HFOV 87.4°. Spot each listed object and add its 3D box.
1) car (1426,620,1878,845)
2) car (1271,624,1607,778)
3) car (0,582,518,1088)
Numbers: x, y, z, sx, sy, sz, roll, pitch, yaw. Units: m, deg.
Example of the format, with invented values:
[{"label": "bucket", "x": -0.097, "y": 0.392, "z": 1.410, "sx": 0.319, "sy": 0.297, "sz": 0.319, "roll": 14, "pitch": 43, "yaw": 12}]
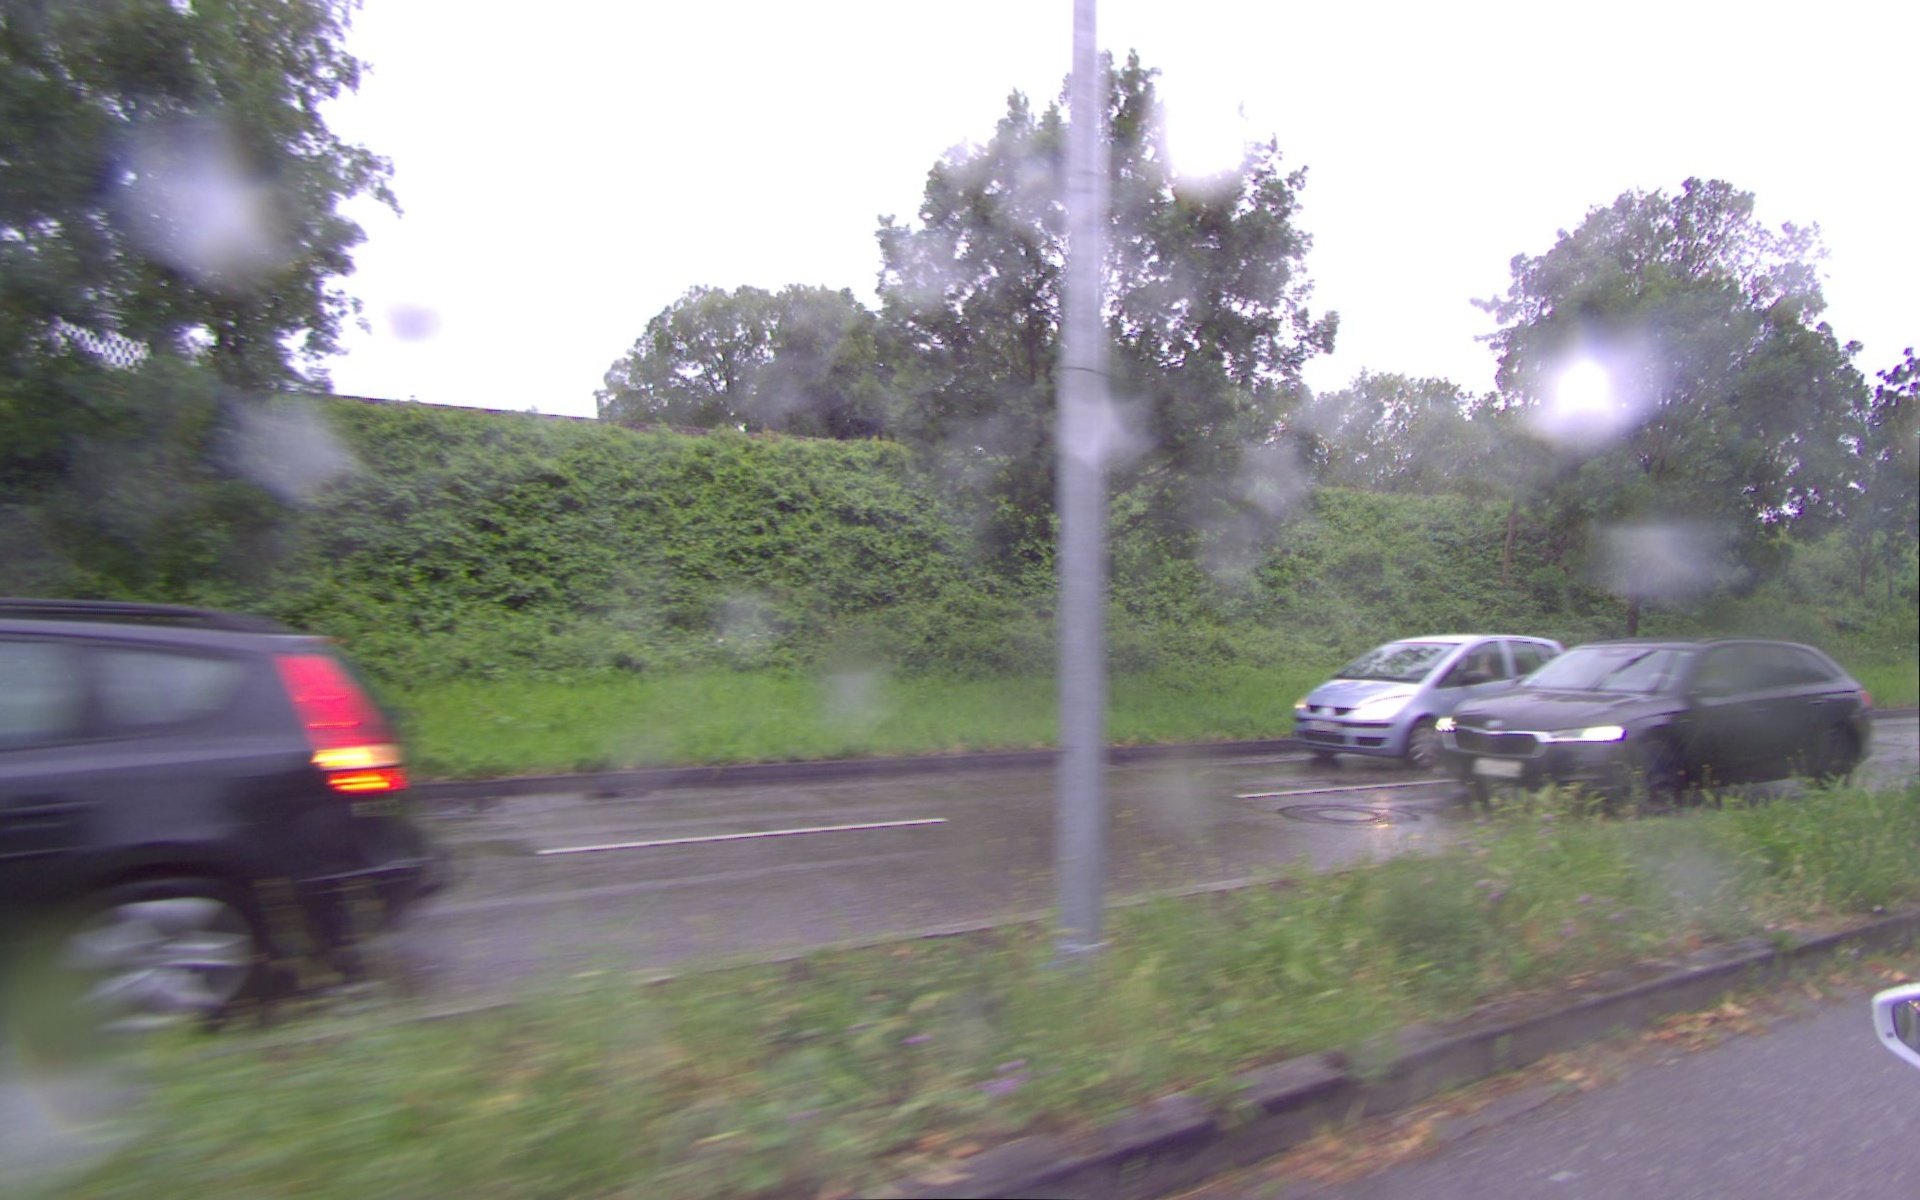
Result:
[{"label": "car", "x": 6.428, "y": 1.041, "z": 9.231, "sx": 4.293, "sy": 1.639, "sz": 1.713, "roll": 1, "pitch": -1, "yaw": -29}, {"label": "car", "x": 5.906, "y": 1.151, "z": 12.386, "sx": 3.793, "sy": 1.639, "sz": 1.692, "roll": 1, "pitch": -1, "yaw": -24}, {"label": "car", "x": -4.051, "y": 0.767, "z": 3.659, "sx": 4.307, "sy": 1.595, "sz": 1.816, "roll": 2, "pitch": -3, "yaw": -30}]
